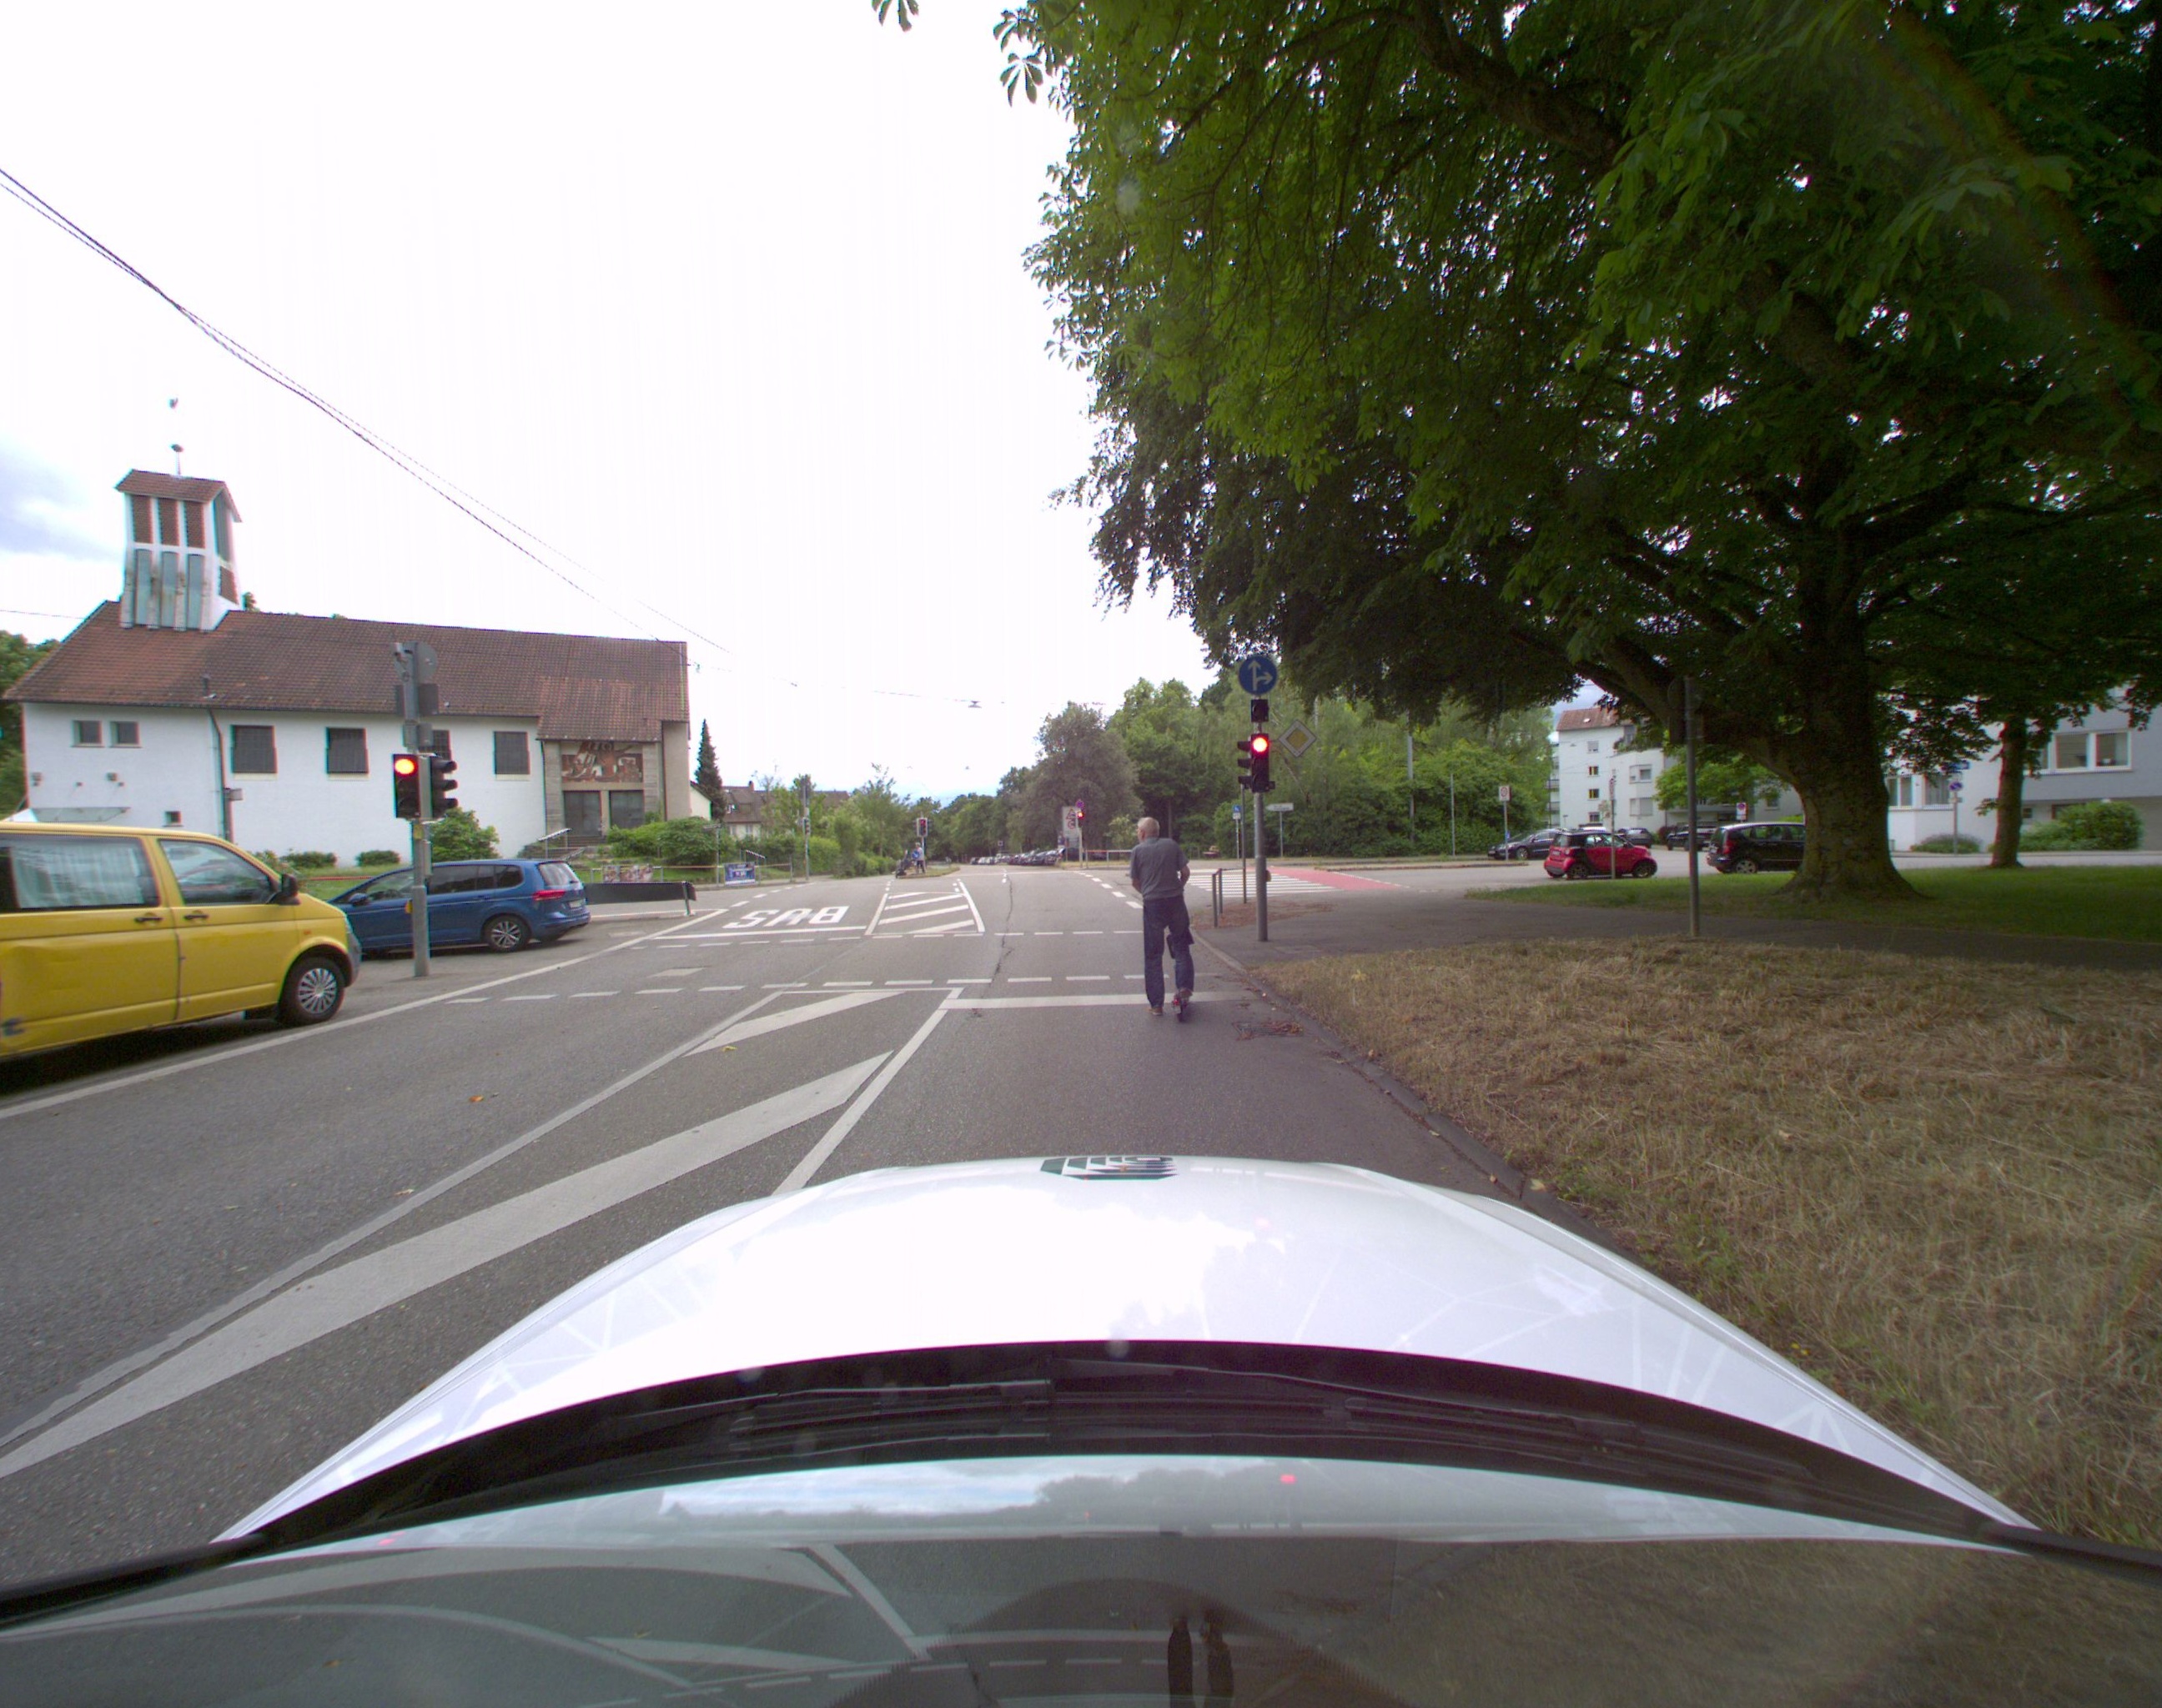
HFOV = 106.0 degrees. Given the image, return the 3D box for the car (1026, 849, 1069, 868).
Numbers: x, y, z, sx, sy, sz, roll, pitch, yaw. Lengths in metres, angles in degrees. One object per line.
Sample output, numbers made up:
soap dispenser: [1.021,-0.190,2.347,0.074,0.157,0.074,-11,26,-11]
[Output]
car: [-3.270,0.453,79.558,3.856,1.610,1.716,-3,1,-21]

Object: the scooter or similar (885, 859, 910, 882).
scooter or similar: [-9.299,0.839,41.262,1.112,1.081,0.573,-2,0,-21]

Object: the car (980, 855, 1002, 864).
car: [-17.314,1.097,156.851,3.856,1.610,1.716,-3,1,-21]

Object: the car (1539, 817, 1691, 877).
car: [16.531,-0.217,25.349,3.499,1.610,1.732,-3,0,7]

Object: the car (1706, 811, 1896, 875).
car: [20.837,-0.305,23.792,3.805,1.610,1.739,-3,1,27]

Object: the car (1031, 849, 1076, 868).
car: [-2.583,0.444,76.998,3.857,1.610,1.715,-3,1,-22]

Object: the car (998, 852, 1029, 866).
car: [-9.043,0.655,109.342,3.856,1.610,1.716,-3,1,-21]

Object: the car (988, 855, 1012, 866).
car: [-14.320,1.109,143.332,3.856,1.610,1.716,-3,1,-21]

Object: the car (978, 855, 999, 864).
car: [-18.140,1.102,159.444,3.856,1.610,1.716,-3,1,-21]

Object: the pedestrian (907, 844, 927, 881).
pedestrian: [-8.371,0.442,41.616,0.886,1.862,0.571,-2,0,-19]

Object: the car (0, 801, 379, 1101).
car: [-8.294,0.682,6.332,1.880,2.013,4.558,-2,0,-5]

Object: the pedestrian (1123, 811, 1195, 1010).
pedestrian: [0.743,0.518,7.668,0.569,1.813,0.421,-2,0,10]

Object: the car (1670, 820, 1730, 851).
car: [35.575,-1.085,46.917,1.707,1.610,3.875,-3,1,22]

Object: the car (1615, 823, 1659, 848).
car: [38.962,-1.295,57.128,1.707,1.610,3.875,-3,1,22]

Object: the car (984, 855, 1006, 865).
car: [-16.336,1.135,154.693,3.856,1.610,1.716,-3,1,-21]

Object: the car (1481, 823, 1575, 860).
car: [21.117,-0.573,38.593,3.498,1.530,1.732,-3,0,8]

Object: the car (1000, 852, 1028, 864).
car: [-10.116,0.605,122.346,3.856,1.610,1.716,-3,1,-21]

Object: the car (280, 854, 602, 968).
car: [-11.059,0.913,14.417,3.992,1.610,1.810,-3,0,-14]

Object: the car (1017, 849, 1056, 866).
car: [-4.924,0.410,89.366,3.856,1.610,1.716,-3,1,-21]

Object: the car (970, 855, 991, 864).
car: [-20.490,1.114,166.572,3.856,1.610,1.716,-3,1,-21]

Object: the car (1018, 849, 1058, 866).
car: [-4.592,0.404,86.944,3.856,1.610,1.716,-3,1,-21]

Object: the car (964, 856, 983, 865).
car: [-23.308,1.406,176.439,3.856,1.610,1.716,-3,1,-21]

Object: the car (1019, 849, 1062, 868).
car: [-4.041,0.428,81.613,3.856,1.610,1.716,-3,1,-21]

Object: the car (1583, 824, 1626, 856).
car: [28.792,-0.803,44.883,1.706,1.610,3.878,-3,1,30]

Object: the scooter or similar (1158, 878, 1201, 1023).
scooter or similar: [0.924,0.838,7.485,0.280,1.178,1.180,-2,0,10]

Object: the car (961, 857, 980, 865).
car: [-24.221,1.496,178.799,3.856,1.610,1.716,-3,1,-21]
